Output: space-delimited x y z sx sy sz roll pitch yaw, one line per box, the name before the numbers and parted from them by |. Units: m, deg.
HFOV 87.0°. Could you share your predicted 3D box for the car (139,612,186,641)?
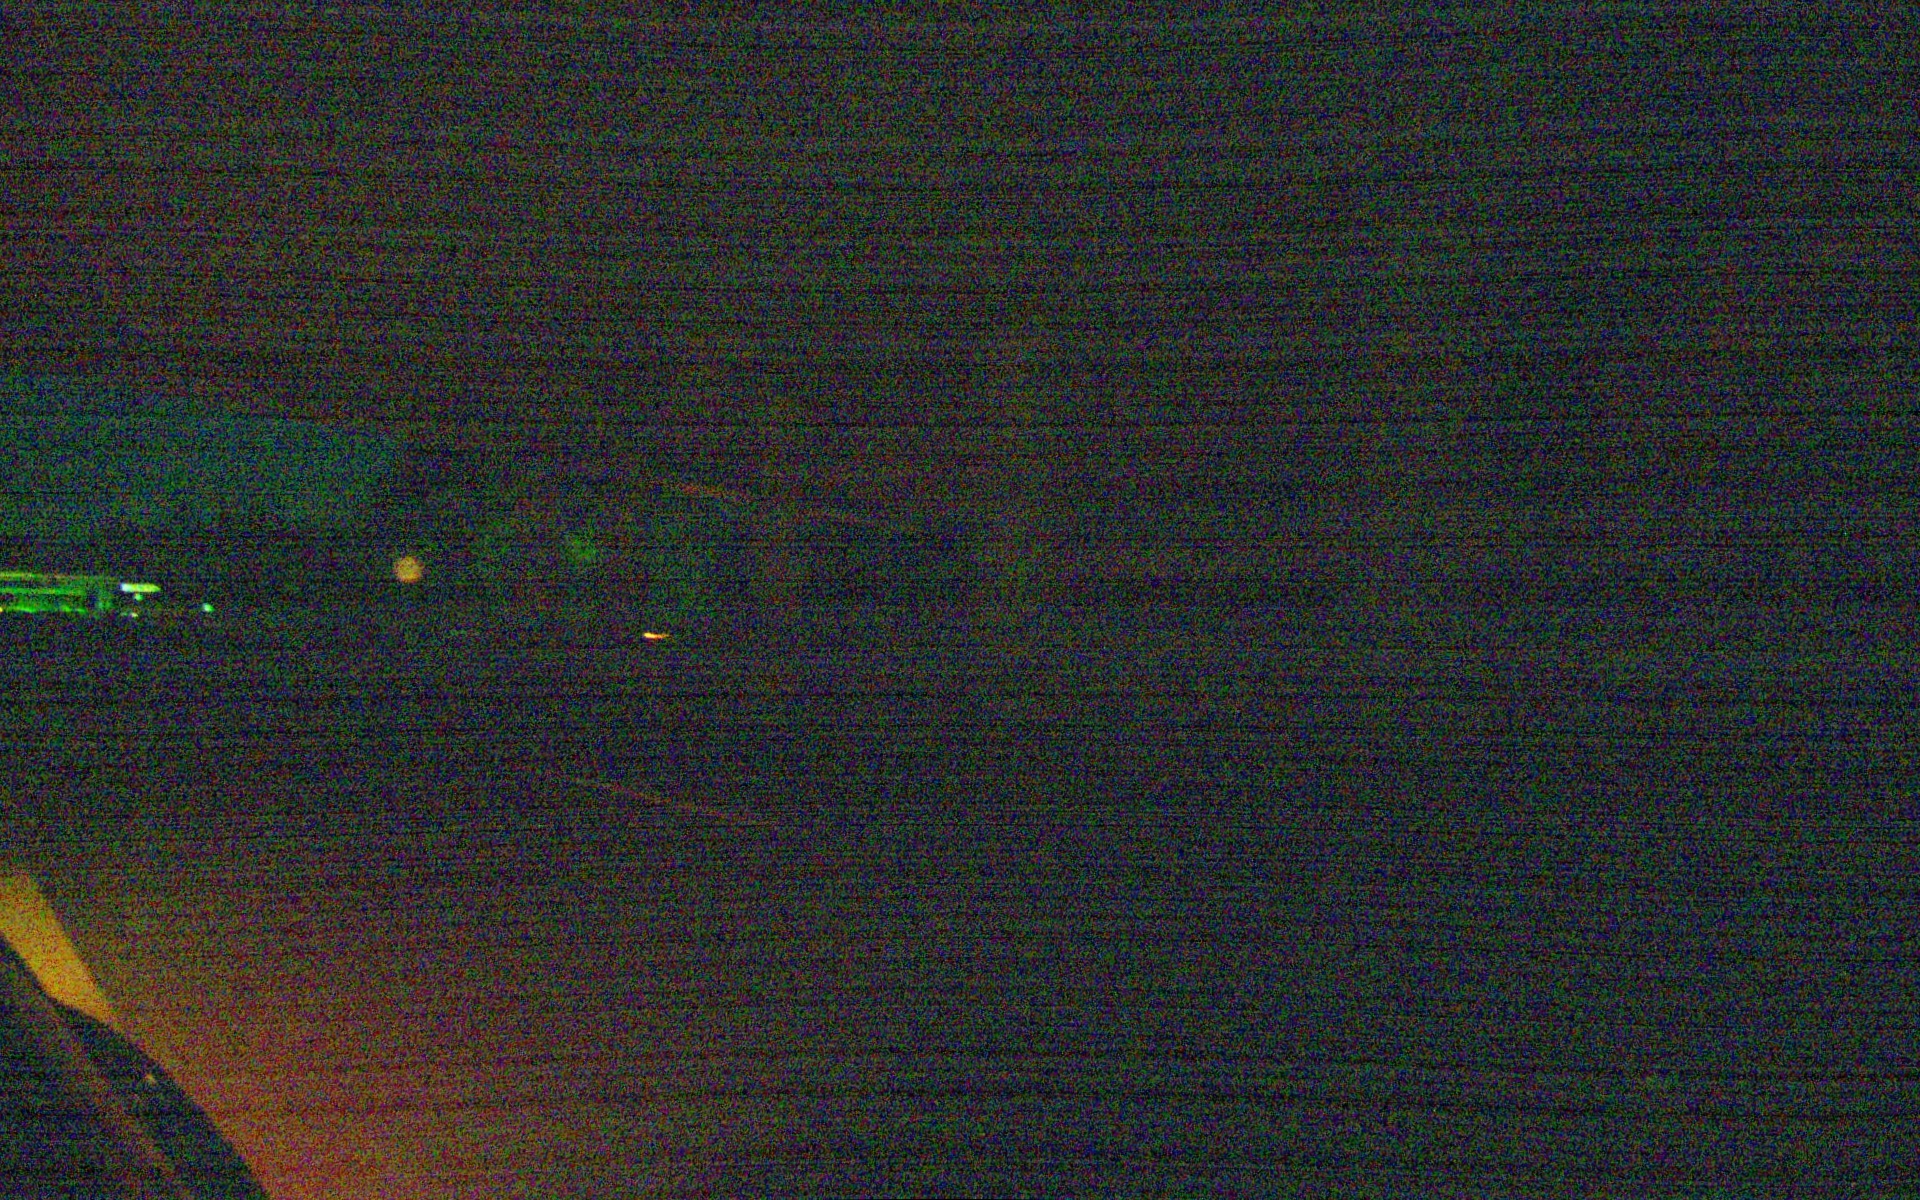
car | -58.077 1.875 73.704 4.608 2.029 1.972 -1 0 42
